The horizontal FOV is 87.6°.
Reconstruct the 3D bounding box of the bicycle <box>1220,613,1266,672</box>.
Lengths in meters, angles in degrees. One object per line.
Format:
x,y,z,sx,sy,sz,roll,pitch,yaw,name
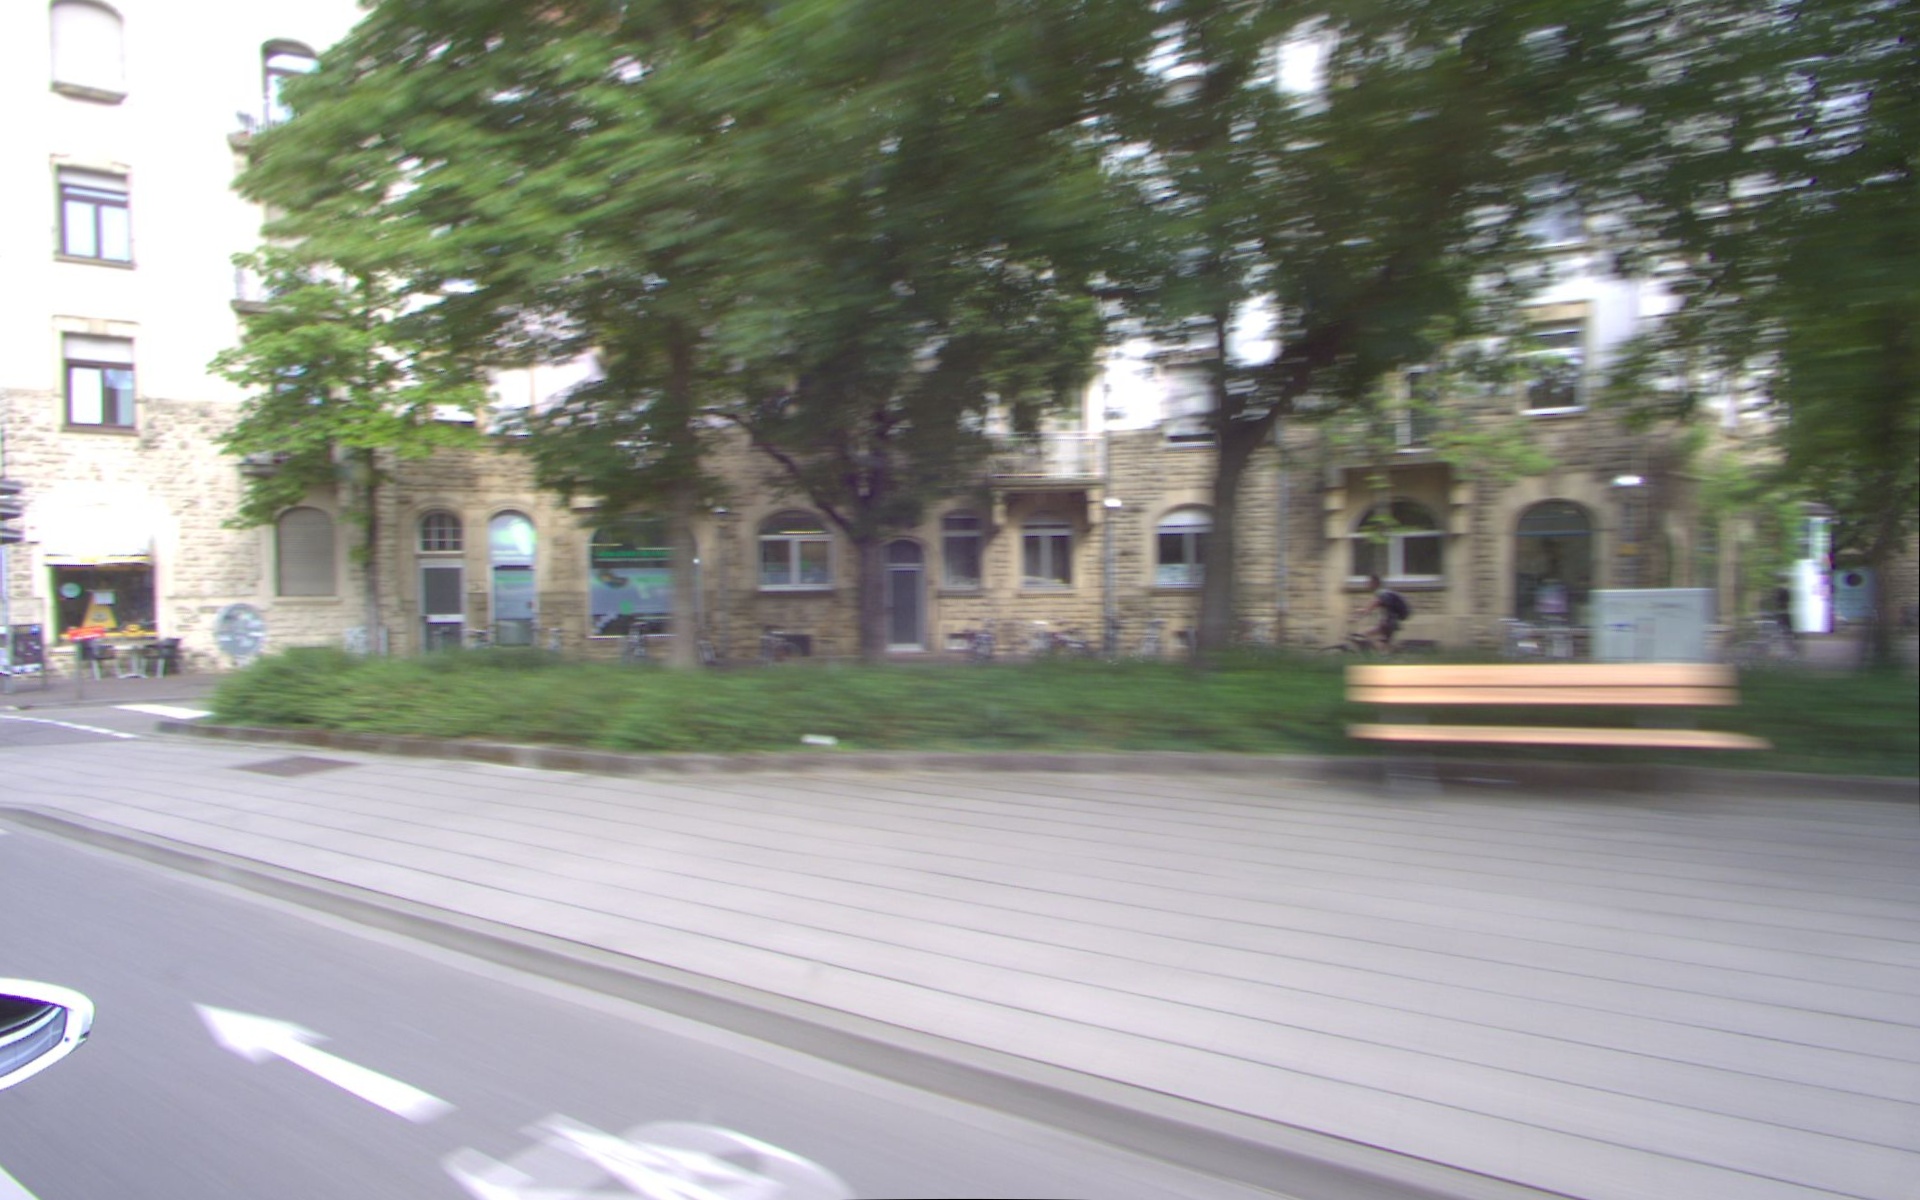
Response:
5.911,0.862,20.838,0.524,1.143,1.885,0,0,28,bicycle

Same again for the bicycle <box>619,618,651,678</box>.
-6.687,0.961,20.636,0.523,1.143,1.890,-1,0,-16,bicycle

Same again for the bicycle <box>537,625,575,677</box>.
-8.268,1.019,20.537,0.523,0.985,1.646,-1,0,-16,bicycle

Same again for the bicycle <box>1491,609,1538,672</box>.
10.698,0.757,19.368,0.523,1.143,1.889,0,0,21,bicycle

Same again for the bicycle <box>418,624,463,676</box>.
-10.607,0.998,20.484,0.593,0.985,1.668,-1,0,-20,bicycle

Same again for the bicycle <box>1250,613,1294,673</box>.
6.442,0.863,20.600,0.524,1.143,1.885,0,0,28,bicycle

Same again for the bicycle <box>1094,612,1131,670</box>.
3.279,0.853,21.376,0.572,1.143,1.891,0,0,15,bicycle

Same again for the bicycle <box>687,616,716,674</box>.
-5.419,0.915,20.952,0.523,1.143,1.890,-1,0,-16,bicycle

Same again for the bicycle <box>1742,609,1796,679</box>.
14.139,0.737,17.537,0.525,1.143,1.883,0,1,33,bicycle

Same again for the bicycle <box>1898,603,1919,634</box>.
36.696,0.696,38.463,1.873,1.132,0.604,-1,1,-35,bicycle

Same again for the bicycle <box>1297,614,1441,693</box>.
6.440,0.821,15.818,2.068,1.167,0.652,0,1,25,bicycle

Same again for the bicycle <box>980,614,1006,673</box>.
0.709,0.905,21.644,0.522,1.143,1.893,-1,2,1,bicycle

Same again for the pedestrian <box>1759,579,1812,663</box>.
17.104,0.423,20.744,0.826,1.698,0.726,-1,1,-41,pedestrian

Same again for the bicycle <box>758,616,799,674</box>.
-3.854,0.917,21.197,0.655,1.143,1.890,-1,0,-16,bicycle

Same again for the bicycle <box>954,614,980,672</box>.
0.168,0.896,21.679,0.522,1.143,1.893,-1,1,1,bicycle

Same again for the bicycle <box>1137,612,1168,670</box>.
4.070,0.846,21.233,0.583,1.143,1.893,-1,0,9,bicycle

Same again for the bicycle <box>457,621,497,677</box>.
-9.798,0.973,20.355,0.441,1.069,1.646,-1,0,-16,bicycle

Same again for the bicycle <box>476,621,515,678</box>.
-9.398,0.976,20.285,0.441,1.069,1.646,-1,0,-16,bicycle

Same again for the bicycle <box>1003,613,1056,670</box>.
1.517,0.872,21.618,0.554,1.143,1.888,0,0,23,bicycle

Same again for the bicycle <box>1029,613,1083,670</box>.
2.079,0.864,21.429,0.589,1.143,1.888,0,0,23,bicycle

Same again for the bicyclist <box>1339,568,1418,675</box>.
6.581,0.331,15.747,1.121,1.627,0.644,0,1,25,bicyclist

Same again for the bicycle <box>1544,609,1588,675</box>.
11.391,0.764,18.794,0.526,1.143,1.880,0,1,37,bicycle

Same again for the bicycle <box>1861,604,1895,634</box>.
36.250,0.730,39.534,1.873,1.132,0.604,-1,1,-35,bicycle
